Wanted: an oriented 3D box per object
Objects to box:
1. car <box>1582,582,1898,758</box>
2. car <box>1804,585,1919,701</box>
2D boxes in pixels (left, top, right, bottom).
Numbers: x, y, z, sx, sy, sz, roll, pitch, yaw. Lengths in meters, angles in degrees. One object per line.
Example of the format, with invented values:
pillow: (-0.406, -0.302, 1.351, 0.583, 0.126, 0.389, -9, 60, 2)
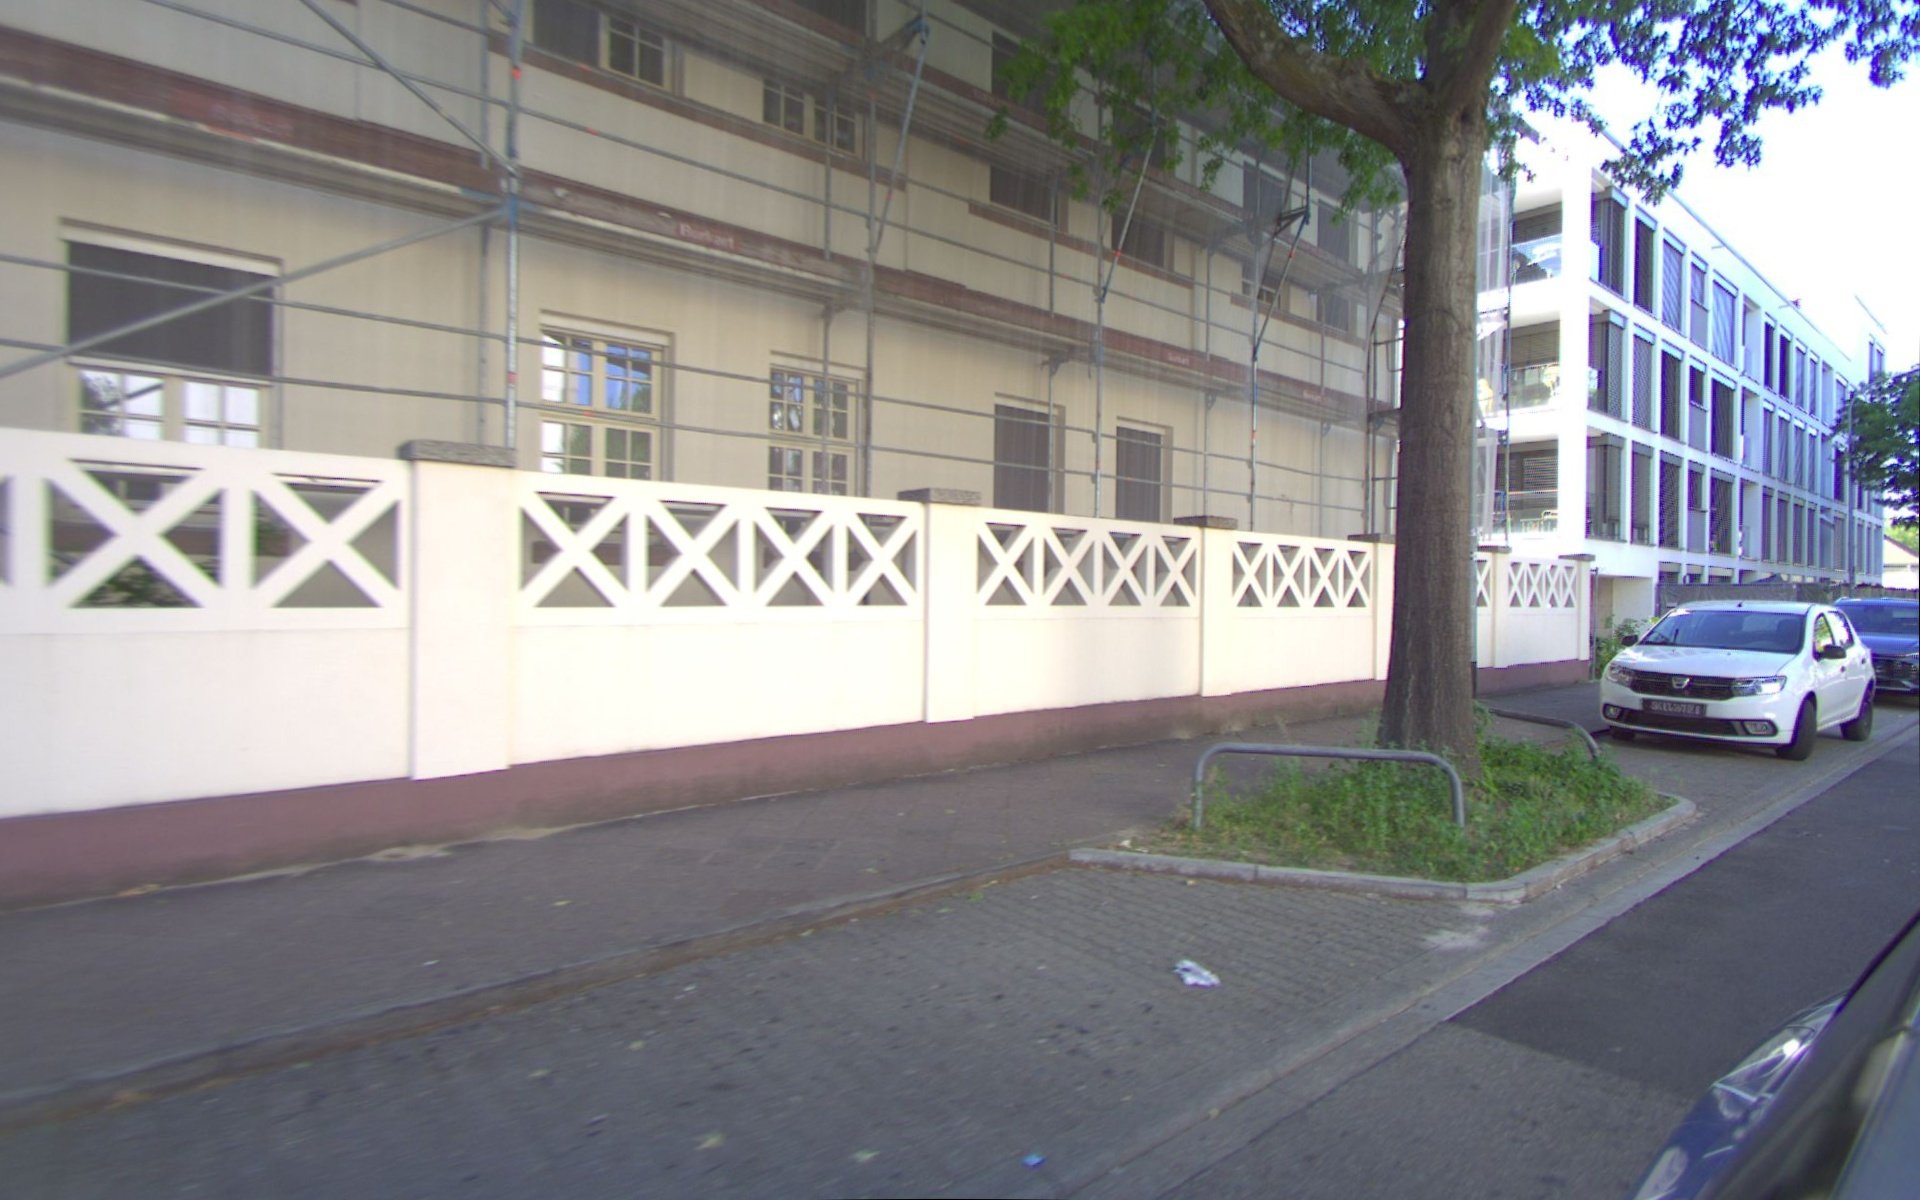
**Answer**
car: (8.529, 0.630, 10.964, 3.918, 1.529, 1.729, 1, 2, -38)
car: (15.164, 0.618, 16.410, 4.229, 1.659, 1.714, 0, 1, -42)
